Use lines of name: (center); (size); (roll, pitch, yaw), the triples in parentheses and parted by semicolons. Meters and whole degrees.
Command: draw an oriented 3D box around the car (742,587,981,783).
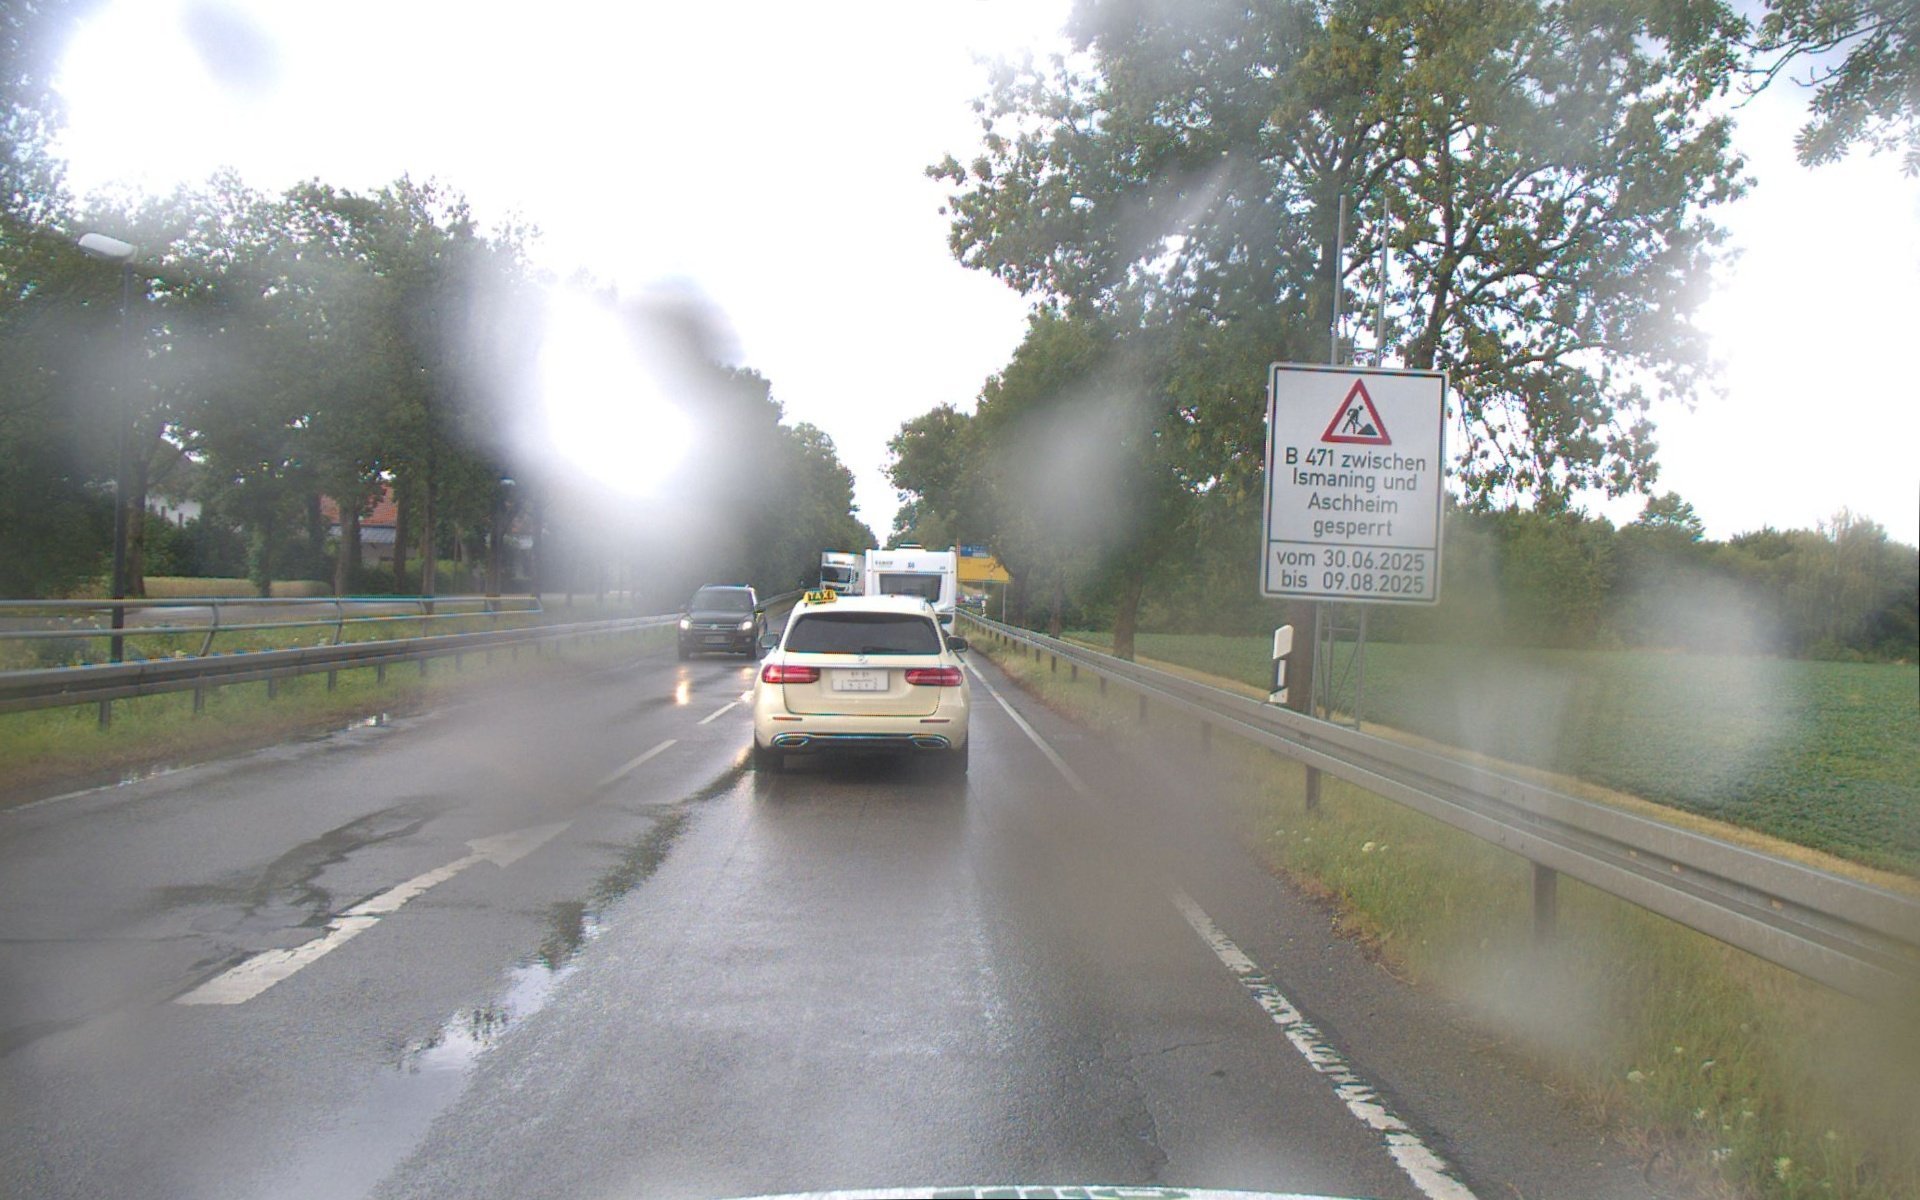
car: (-0.783, 0.650, 14.782); (1.827, 1.502, 3.999); (1, 0, -1)

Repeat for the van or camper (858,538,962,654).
van or camper: (-1.226, -0.104, 42.383); (2.439, 2.732, 5.699); (1, 0, -1)

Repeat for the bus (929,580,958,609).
bus: (-1.190, -0.401, 117.086); (1.953, 2.049, 3.998); (0, 0, -2)

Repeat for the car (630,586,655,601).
car: (-31.617, -0.638, 164.752); (1.749, 1.440, 3.999); (2, 0, -1)

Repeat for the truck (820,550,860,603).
truck: (-8.349, -1.604, 115.933); (2.525, 3.512, 9.550); (0, 0, -3)

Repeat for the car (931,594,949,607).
car: (-1.766, 0.068, 146.952); (1.520, 1.138, 3.999); (1, 0, -1)

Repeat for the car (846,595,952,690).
car: (-0.972, 0.661, 27.669); (1.630, 1.456, 3.999); (1, 0, -1)

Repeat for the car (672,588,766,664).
car: (-5.530, 0.565, 38.298); (1.729, 1.647, 3.998); (0, 0, -2)
